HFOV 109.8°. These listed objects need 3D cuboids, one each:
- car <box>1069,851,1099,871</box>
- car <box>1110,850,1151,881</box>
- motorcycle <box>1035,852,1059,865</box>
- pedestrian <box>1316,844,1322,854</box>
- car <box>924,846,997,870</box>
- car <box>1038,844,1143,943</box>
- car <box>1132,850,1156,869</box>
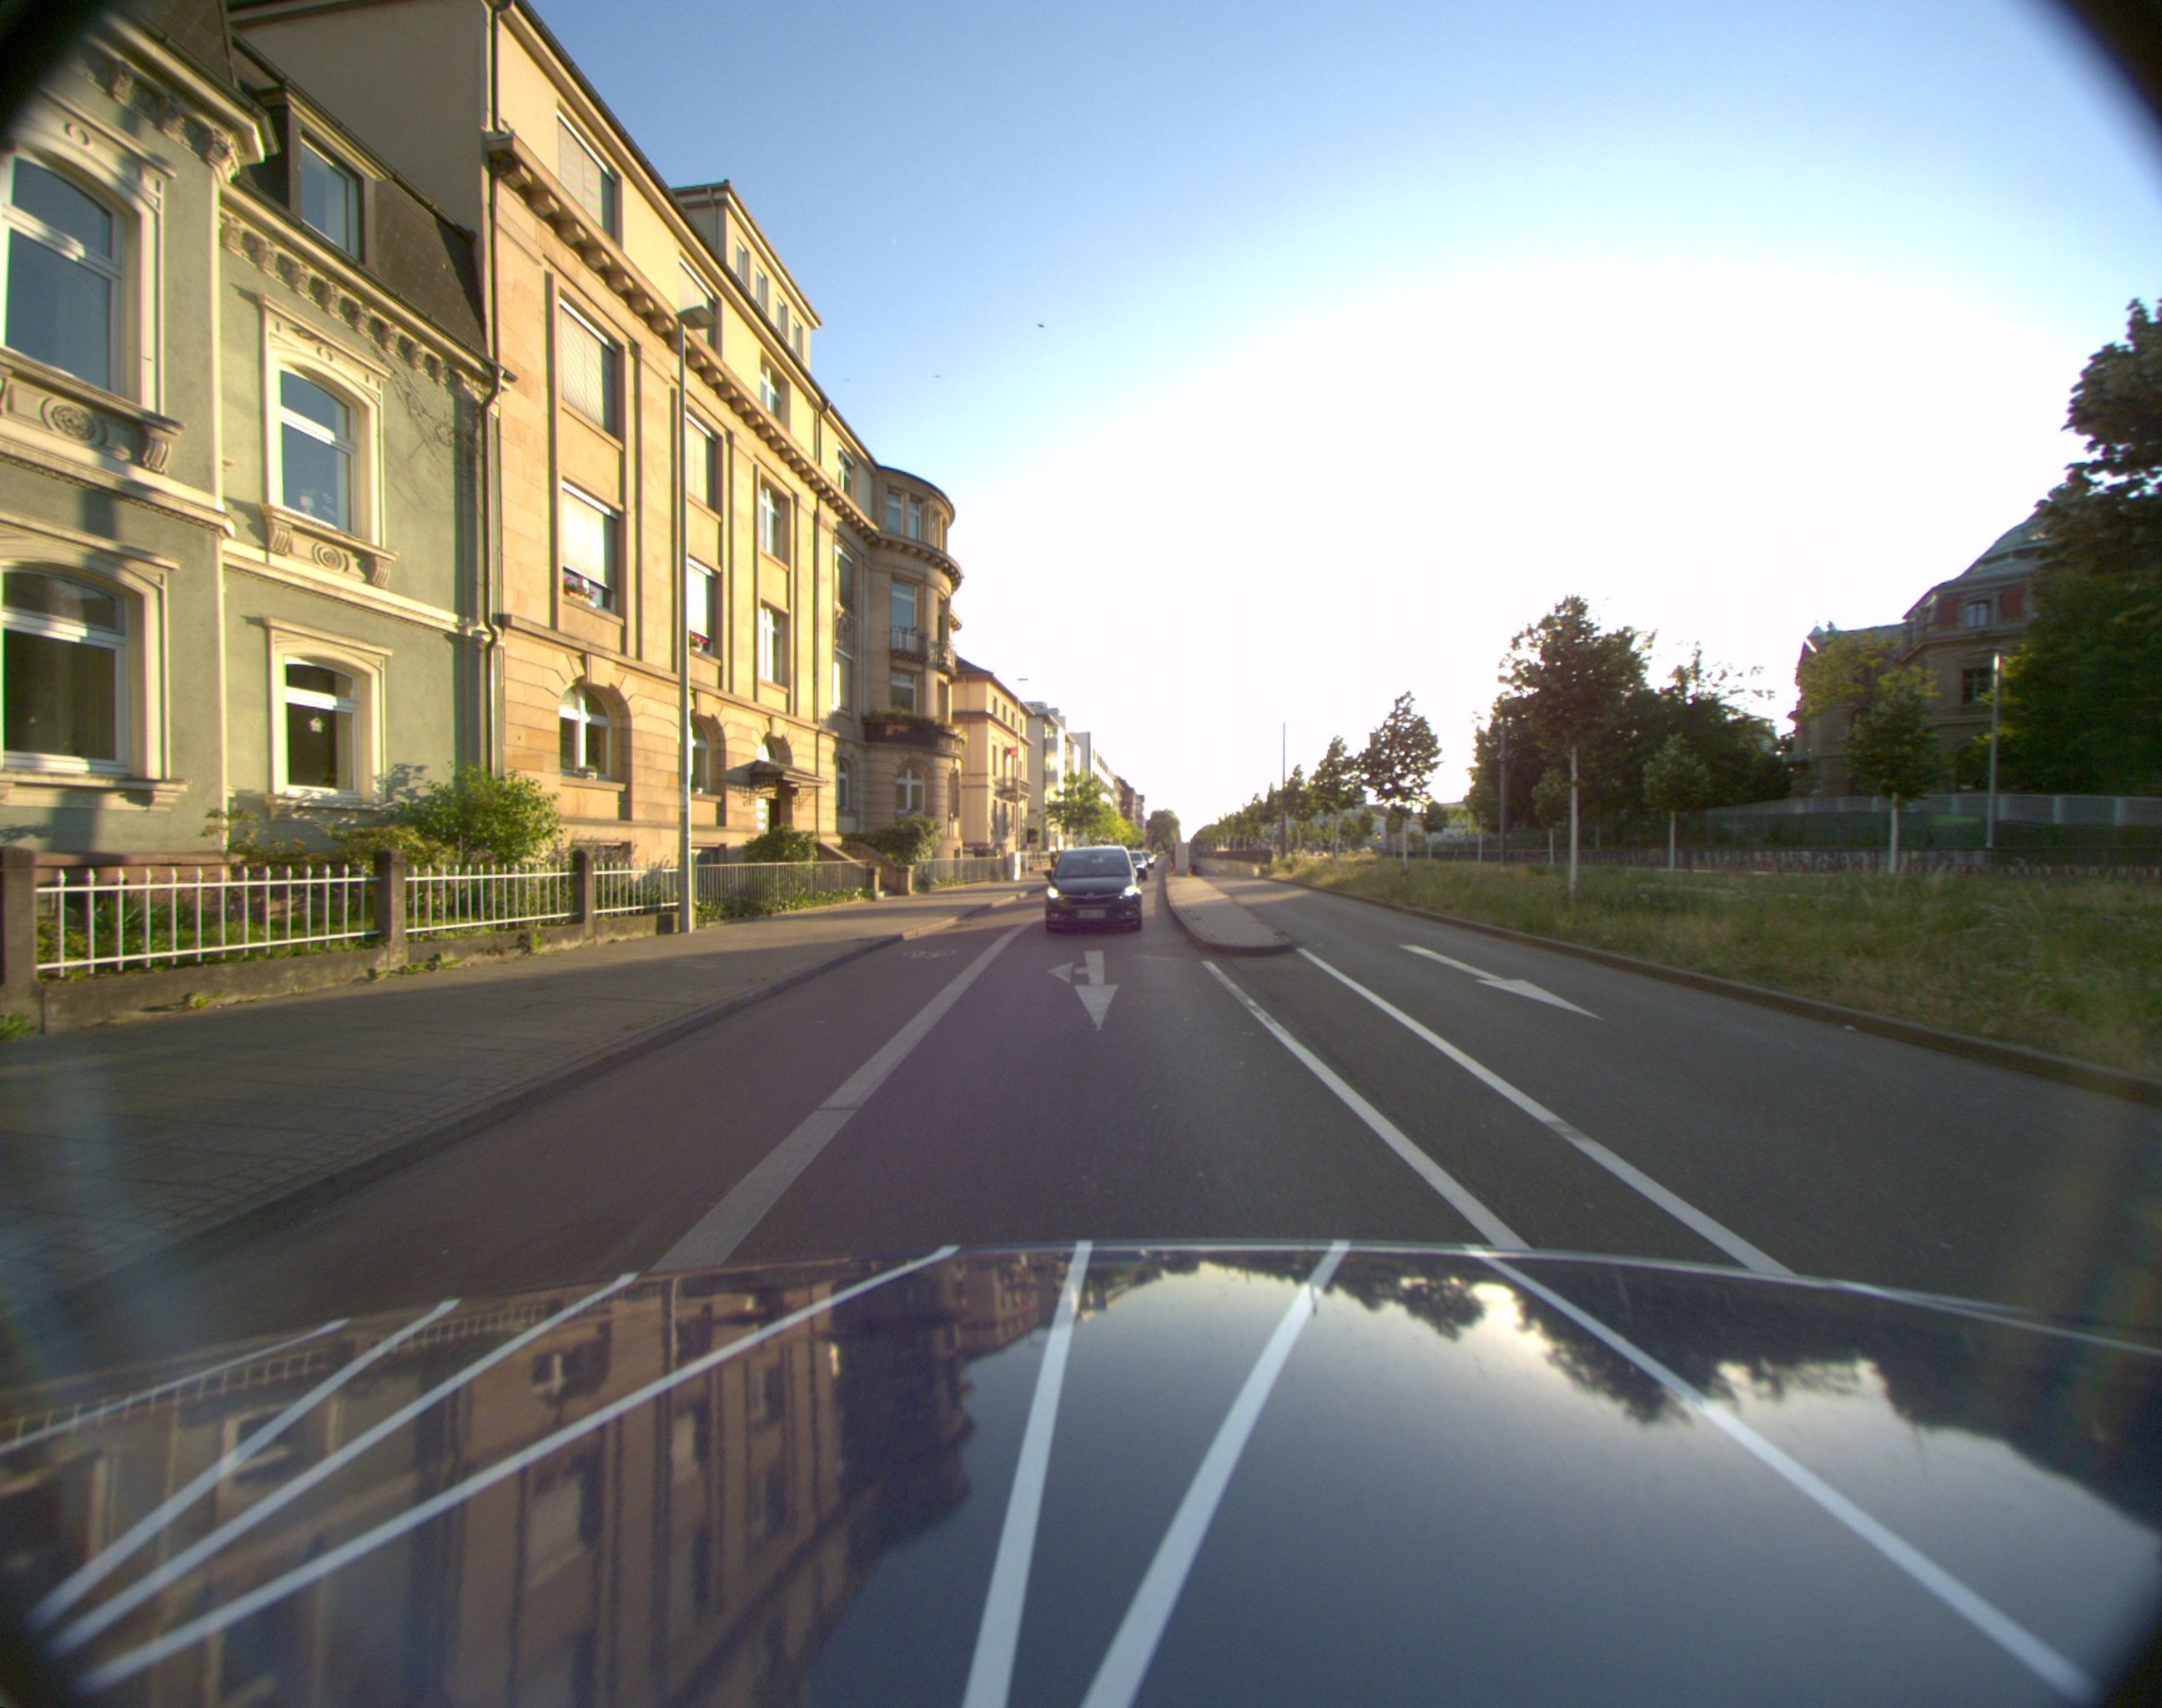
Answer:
[{"bbox_3d":[0.260,0.460,55.870,1.881,1.394,4.102,-1,0,5],"label":"car"},{"bbox_3d":[2.563,0.557,38.112,1.858,1.425,4.845,-1,-1,6],"label":"car"},{"bbox_3d":[-2.840,0.389,63.438,1.847,1.090,0.576,-1,1,12],"label":"motorcycle"},{"bbox_3d":[48.679,-1.021,155.432,0.811,1.836,0.837,-2,1,1],"label":"pedestrian"},{"bbox_3d":[-7.496,0.249,47.385,4.095,1.472,1.939,-1,0,7],"label":"car"},{"bbox_3d":[0.295,0.638,15.217,1.770,1.649,4.853,0,1,3],"label":"car"},{"bbox_3d":[5.265,0.476,63.394,1.858,1.425,4.845,-1,-1,6],"label":"car"}]
